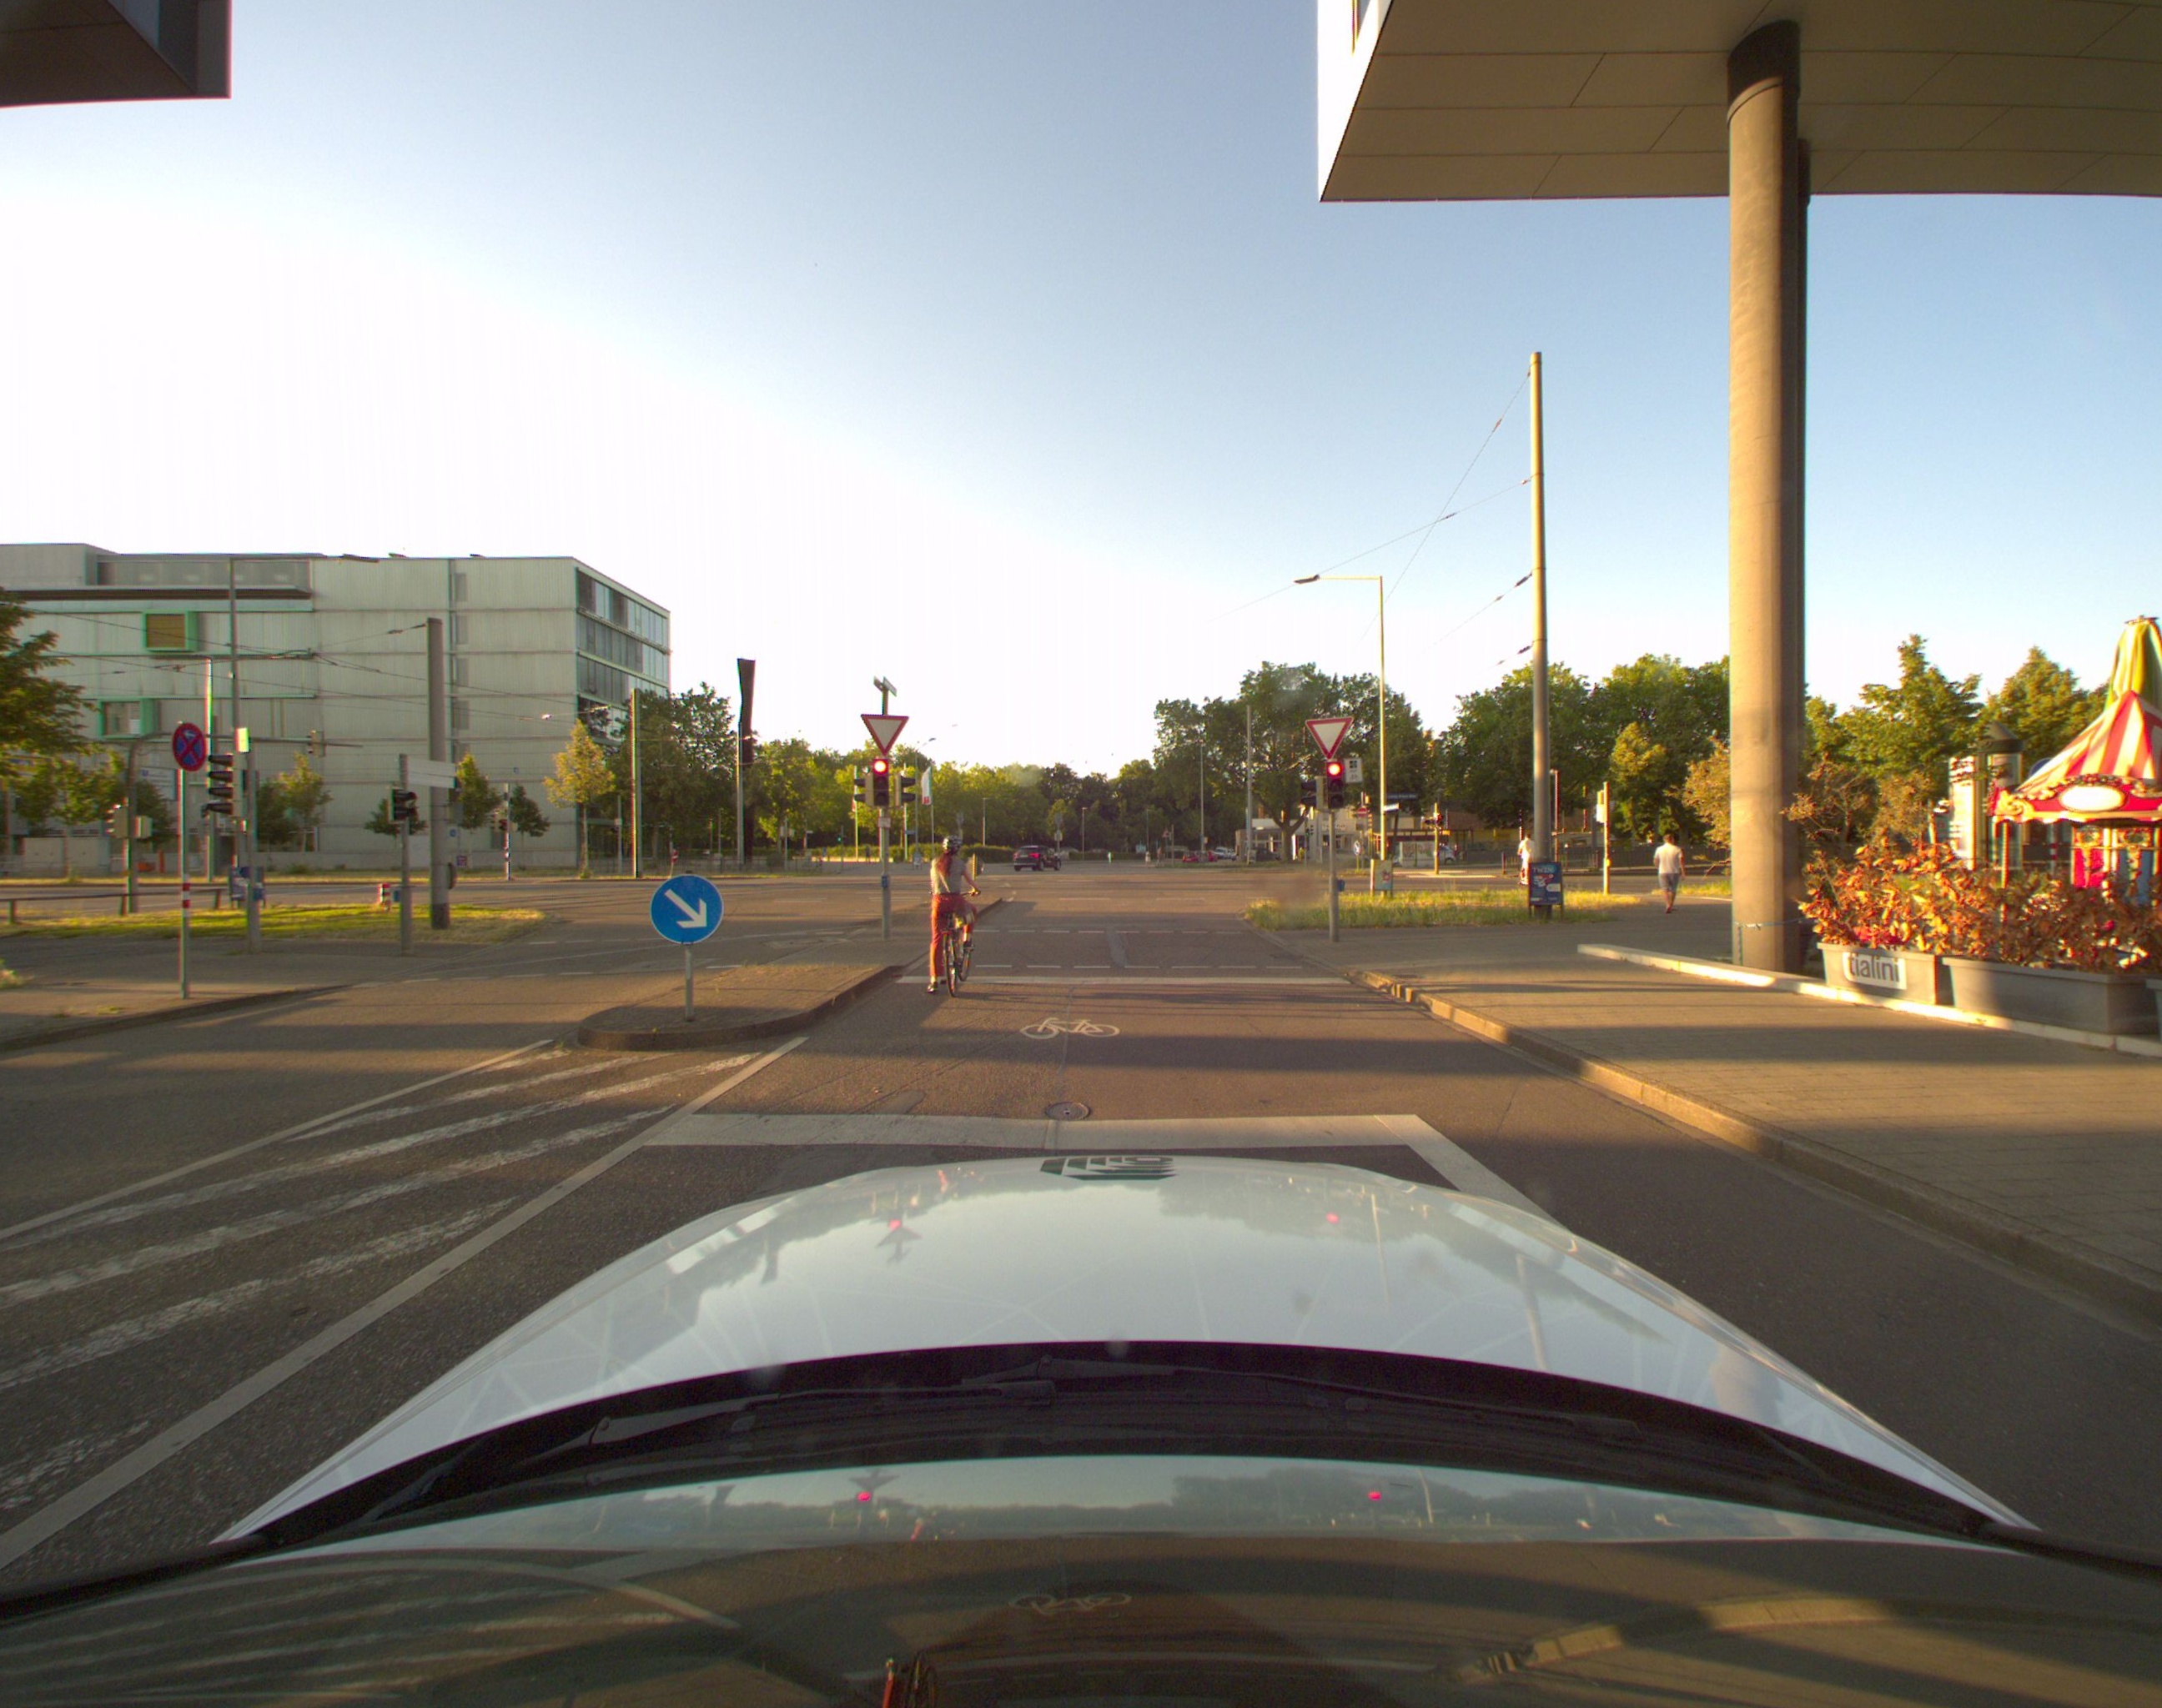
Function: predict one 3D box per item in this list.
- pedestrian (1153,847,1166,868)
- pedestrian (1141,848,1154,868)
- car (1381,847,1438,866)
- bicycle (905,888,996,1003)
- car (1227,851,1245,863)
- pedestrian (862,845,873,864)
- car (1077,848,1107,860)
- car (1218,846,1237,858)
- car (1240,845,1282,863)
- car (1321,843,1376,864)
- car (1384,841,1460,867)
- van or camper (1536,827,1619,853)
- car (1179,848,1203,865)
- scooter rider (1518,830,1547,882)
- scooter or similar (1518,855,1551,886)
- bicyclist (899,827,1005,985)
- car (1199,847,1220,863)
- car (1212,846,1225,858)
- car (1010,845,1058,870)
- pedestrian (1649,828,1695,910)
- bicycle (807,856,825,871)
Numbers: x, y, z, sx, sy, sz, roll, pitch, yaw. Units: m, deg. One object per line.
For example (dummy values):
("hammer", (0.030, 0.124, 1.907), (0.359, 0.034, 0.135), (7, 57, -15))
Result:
("pedestrian", (6.469, 0.288, 67.105), (0.712, 1.754, 0.903), (-1, 0, 26))
("pedestrian", (5.549, 0.328, 67.946), (0.712, 1.639, 0.903), (-1, 0, 26))
("car", (28.906, 0.229, 71.783), (4.211, 1.577, 2.002), (-1, 0, 4))
("bicycle", (-1.453, 0.979, 9.405), (0.632, 1.068, 2.123), (-1, 0, 2))
("car", (21.892, 0.358, 115.076), (1.899, 1.602, 4.020), (0, 0, 20))
("pedestrian", (-19.914, 0.078, 76.083), (0.898, 1.754, 0.715), (-1, 0, -24))
("car", (1.474, -0.009, 109.685), (3.970, 1.561, 2.002), (-1, 0, 3))
("car", (24.414, -0.309, 135.464), (1.975, 2.013, 4.024), (-1, 0, 27))
("car", (19.574, 0.007, 88.683), (4.354, 1.835, 1.952), (-1, 0, 6))
("car", (23.649, -0.032, 72.083), (4.211, 1.846, 2.002), (-1, 0, 4))
("car", (23.648, -0.024, 56.519), (4.523, 1.728, 1.860), (-1, 0, -3))
("van or camper", (47.919, -1.293, 78.714), (6.530, 2.410, 2.268), (-1, 0, 6))
("car", (12.911, 0.262, 95.582), (1.852, 1.874, 3.896), (0, 0, 23))
("scooter rider", (16.435, 0.084, 29.654), (0.699, 1.855, 0.669), (0, -1, 1))
("scooter or similar", (16.433, 0.593, 29.542), (0.508, 1.090, 1.243), (-1, 0, 2))
("bicyclist", (-1.460, 0.567, 9.421), (1.028, 1.717, 0.996), (-1, 0, 1))
("car", (16.242, 0.087, 103.124), (1.899, 2.047, 4.020), (0, 0, 20))
("car", (22.063, -0.328, 130.873), (1.982, 2.013, 4.010), (-1, 0, 9))
("car", (-2.932, 0.249, 52.049), (1.742, 1.541, 4.418), (-1, -1, 15))
("pedestrian", (13.156, 0.324, 18.142), (0.754, 1.791, 0.807), (-1, 0, 32))
("bicycle", (-20.678, 0.745, 63.617), (0.697, 1.136, 2.392), (-1, 0, -1))
